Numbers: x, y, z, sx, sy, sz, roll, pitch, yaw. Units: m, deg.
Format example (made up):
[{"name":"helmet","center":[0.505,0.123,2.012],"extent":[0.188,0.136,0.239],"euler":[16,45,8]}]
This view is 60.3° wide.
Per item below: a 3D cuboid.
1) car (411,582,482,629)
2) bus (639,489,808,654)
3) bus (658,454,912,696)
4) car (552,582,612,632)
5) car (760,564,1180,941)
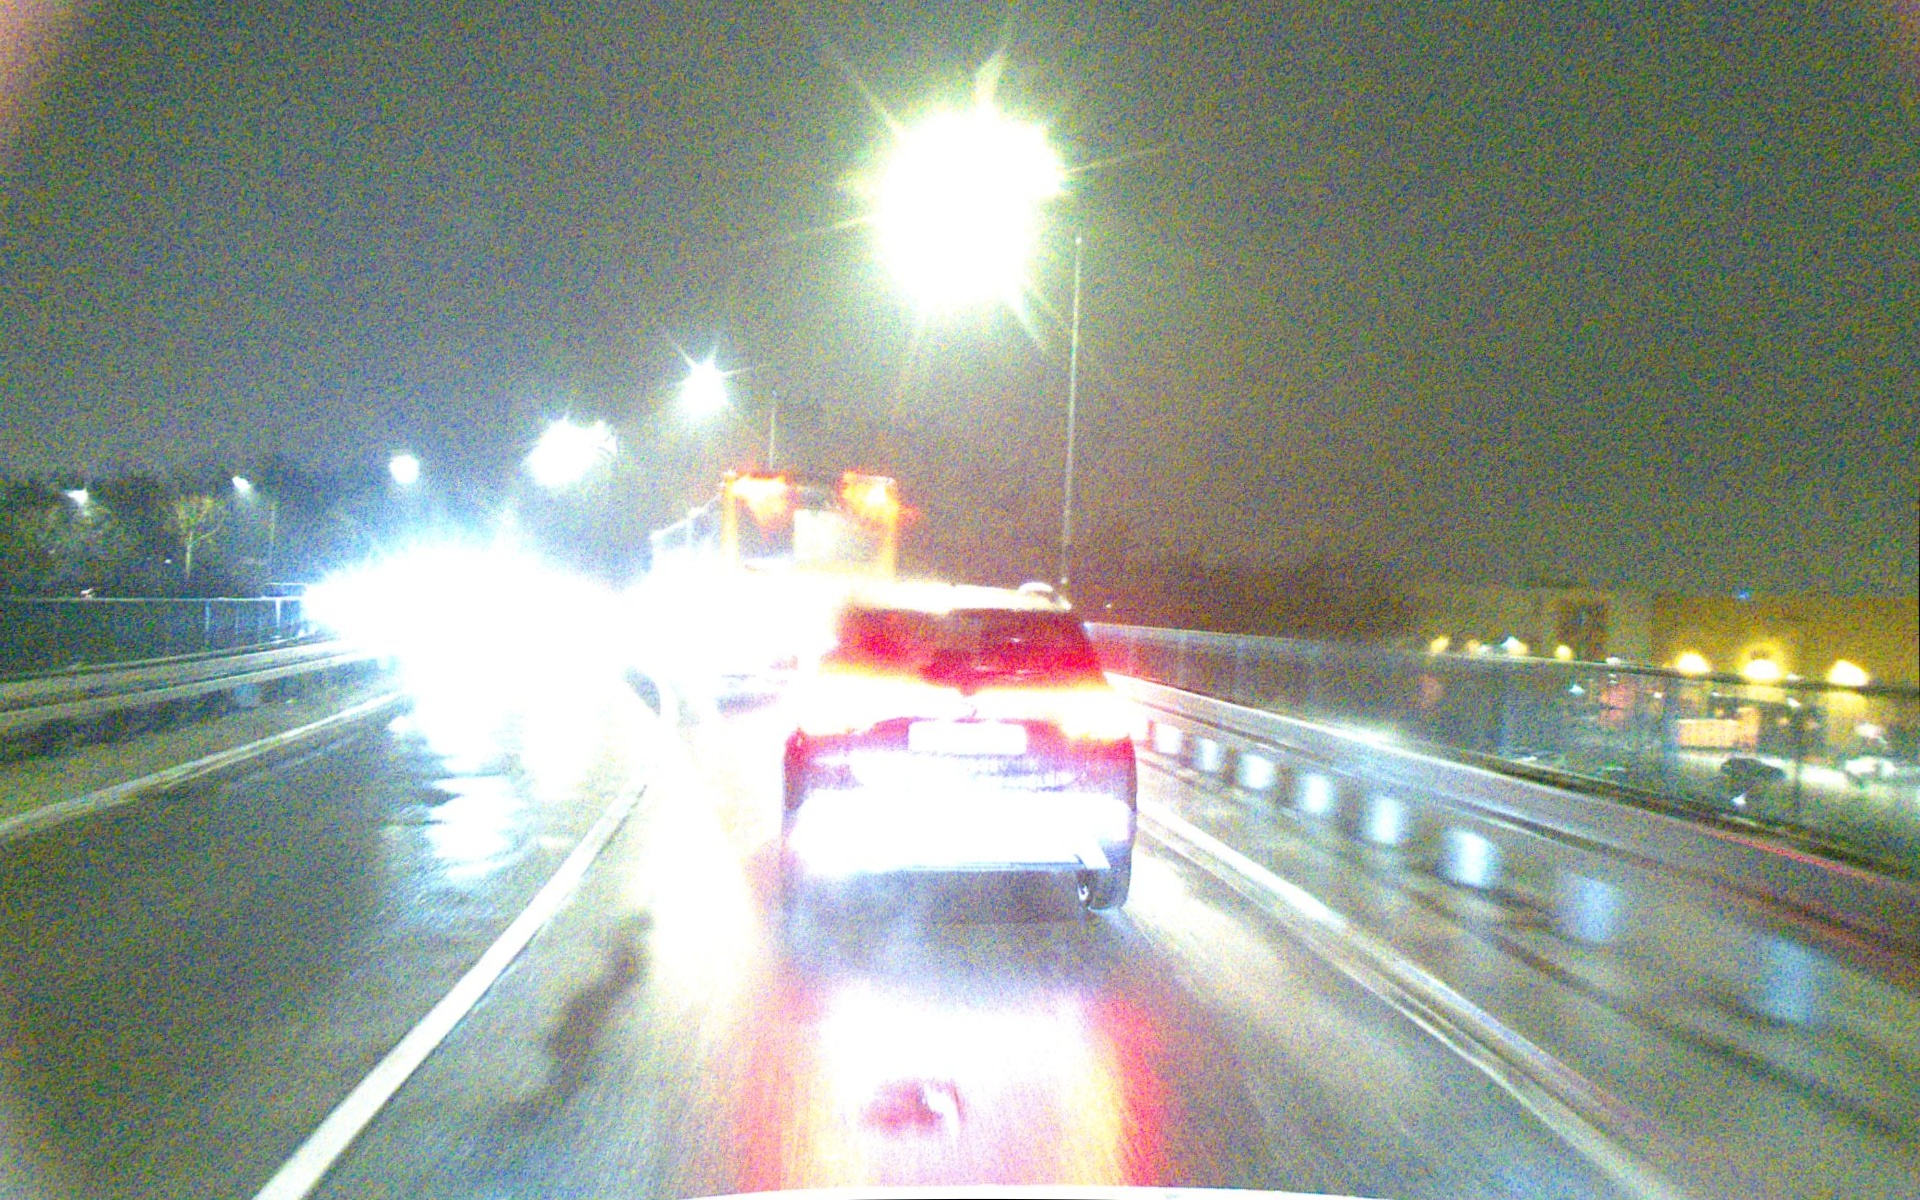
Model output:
[{"name":"car","center":[-19.689,0.189,63.300],"extent":[1.759,1.734,4.271],"euler":[-1,0,-29]},{"name":"bus","center":[-5.686,-0.612,38.498],"extent":[2.997,3.186,8.052],"euler":[5,-1,-13]},{"name":"bus","center":[-3.436,-0.380,28.300],"extent":[3.029,3.187,12.658],"euler":[0,0,-12]},{"name":"car","center":[-13.786,0.265,60.237],"extent":[1.613,1.685,3.685],"euler":[0,-2,-22]},{"name":"car","center":[-0.098,0.666,9.172],"extent":[1.819,1.614,3.996],"euler":[0,0,-5]}]
